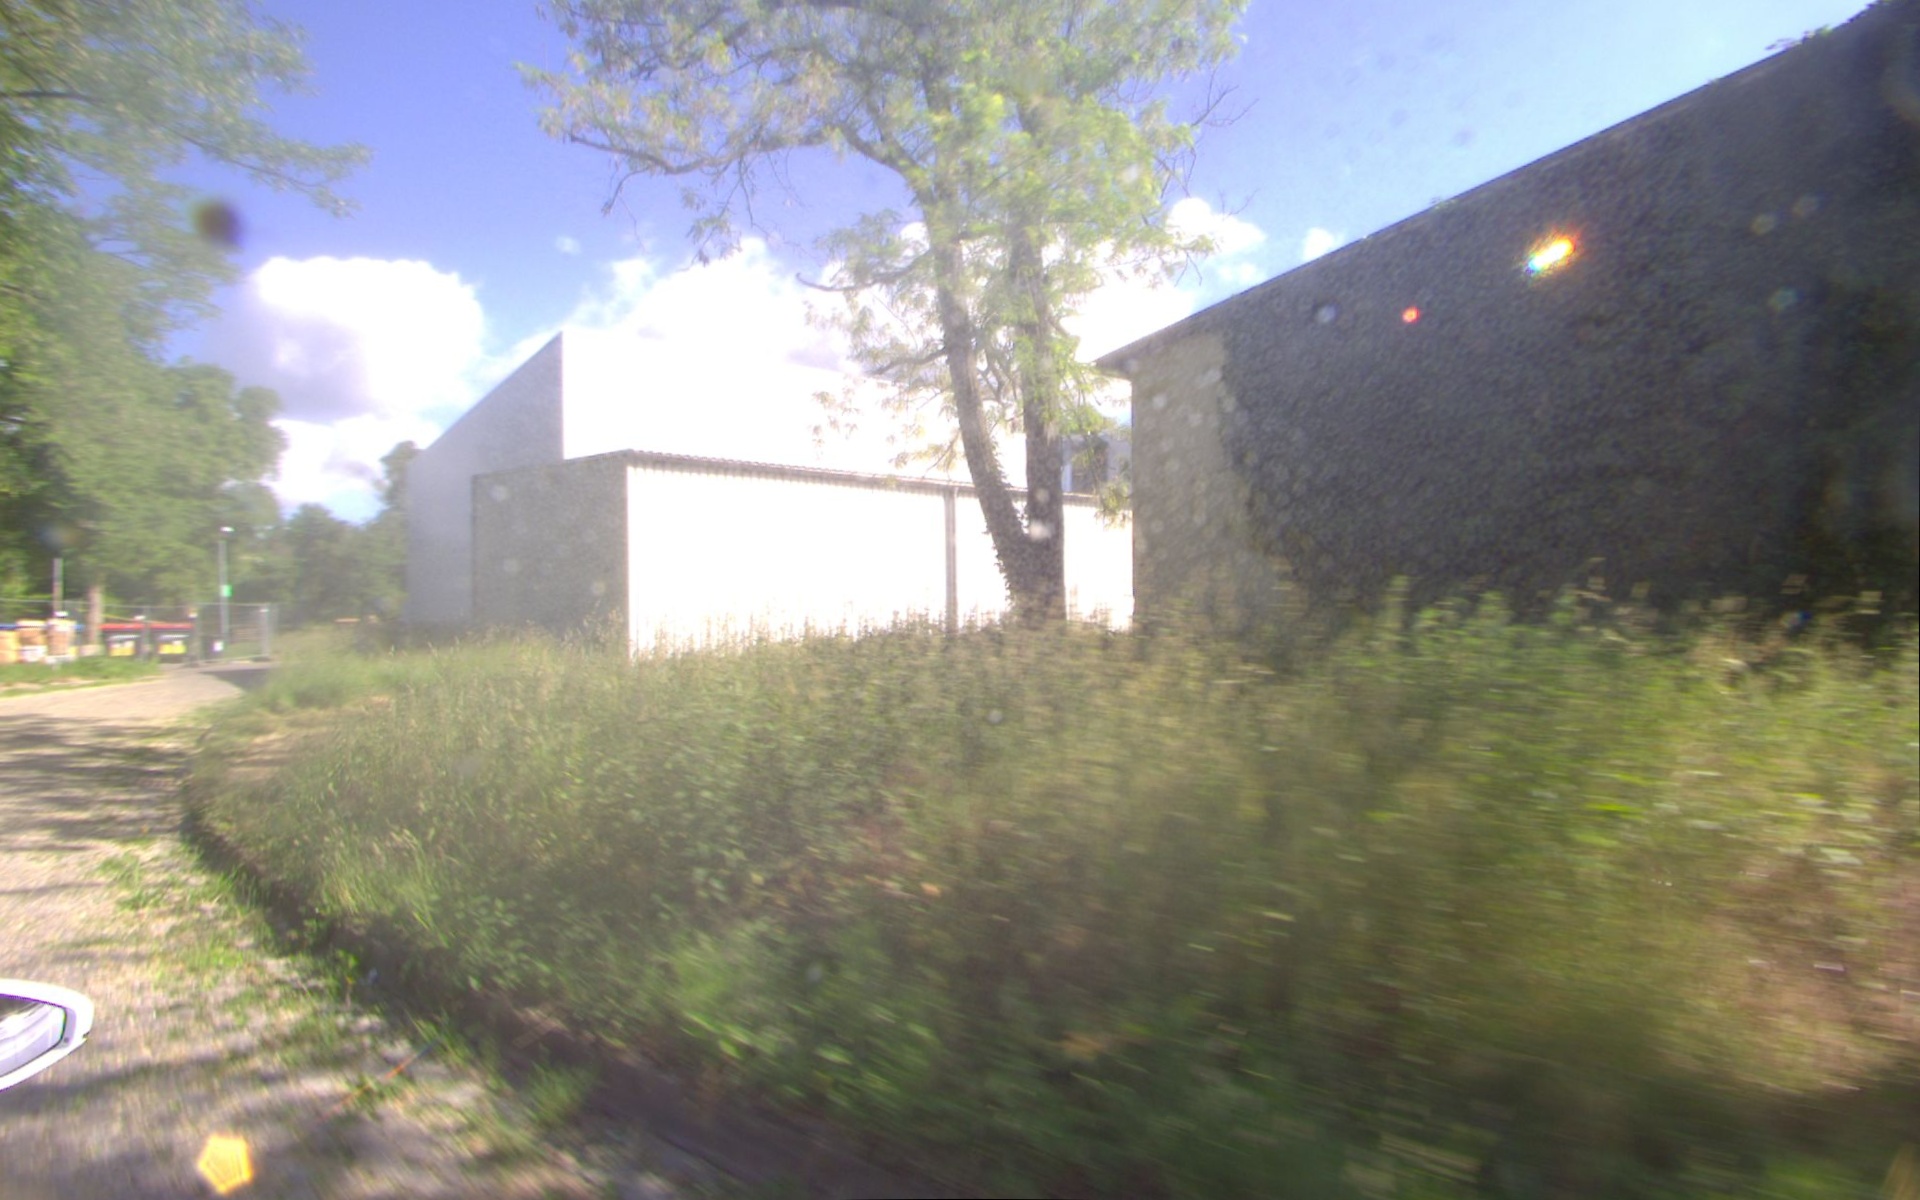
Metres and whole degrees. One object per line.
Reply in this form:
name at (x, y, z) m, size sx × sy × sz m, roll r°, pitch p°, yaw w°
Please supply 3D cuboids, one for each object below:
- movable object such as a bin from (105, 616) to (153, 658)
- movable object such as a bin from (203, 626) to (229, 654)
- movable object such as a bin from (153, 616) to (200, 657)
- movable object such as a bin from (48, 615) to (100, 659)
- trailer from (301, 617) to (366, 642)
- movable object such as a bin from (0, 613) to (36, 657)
movable object such as a bin at (-29.331, 1.291, 35.351) m, size 1.277 × 1.445 × 1.024 m, roll 0°, pitch 0°, yaw -40°
movable object such as a bin at (-27.282, 1.456, 36.731) m, size 0.633 × 1.020 × 0.603 m, roll -1°, pitch 0°, yaw -22°
movable object such as a bin at (-28.335, 1.300, 36.198) m, size 1.277 × 1.445 × 1.023 m, roll 0°, pitch 0°, yaw -41°
movable object such as a bin at (-30.483, 1.261, 34.471) m, size 1.277 × 1.445 × 1.024 m, roll 0°, pitch 0°, yaw -40°
trailer at (-31.607, 1.472, 50.513) m, size 2.687 × 1.215 × 1.236 m, roll 0°, pitch 0°, yaw -38°
movable object such as a bin at (-31.646, 1.156, 33.401) m, size 1.073 × 1.457 × 1.049 m, roll -1°, pitch 0°, yaw -35°
